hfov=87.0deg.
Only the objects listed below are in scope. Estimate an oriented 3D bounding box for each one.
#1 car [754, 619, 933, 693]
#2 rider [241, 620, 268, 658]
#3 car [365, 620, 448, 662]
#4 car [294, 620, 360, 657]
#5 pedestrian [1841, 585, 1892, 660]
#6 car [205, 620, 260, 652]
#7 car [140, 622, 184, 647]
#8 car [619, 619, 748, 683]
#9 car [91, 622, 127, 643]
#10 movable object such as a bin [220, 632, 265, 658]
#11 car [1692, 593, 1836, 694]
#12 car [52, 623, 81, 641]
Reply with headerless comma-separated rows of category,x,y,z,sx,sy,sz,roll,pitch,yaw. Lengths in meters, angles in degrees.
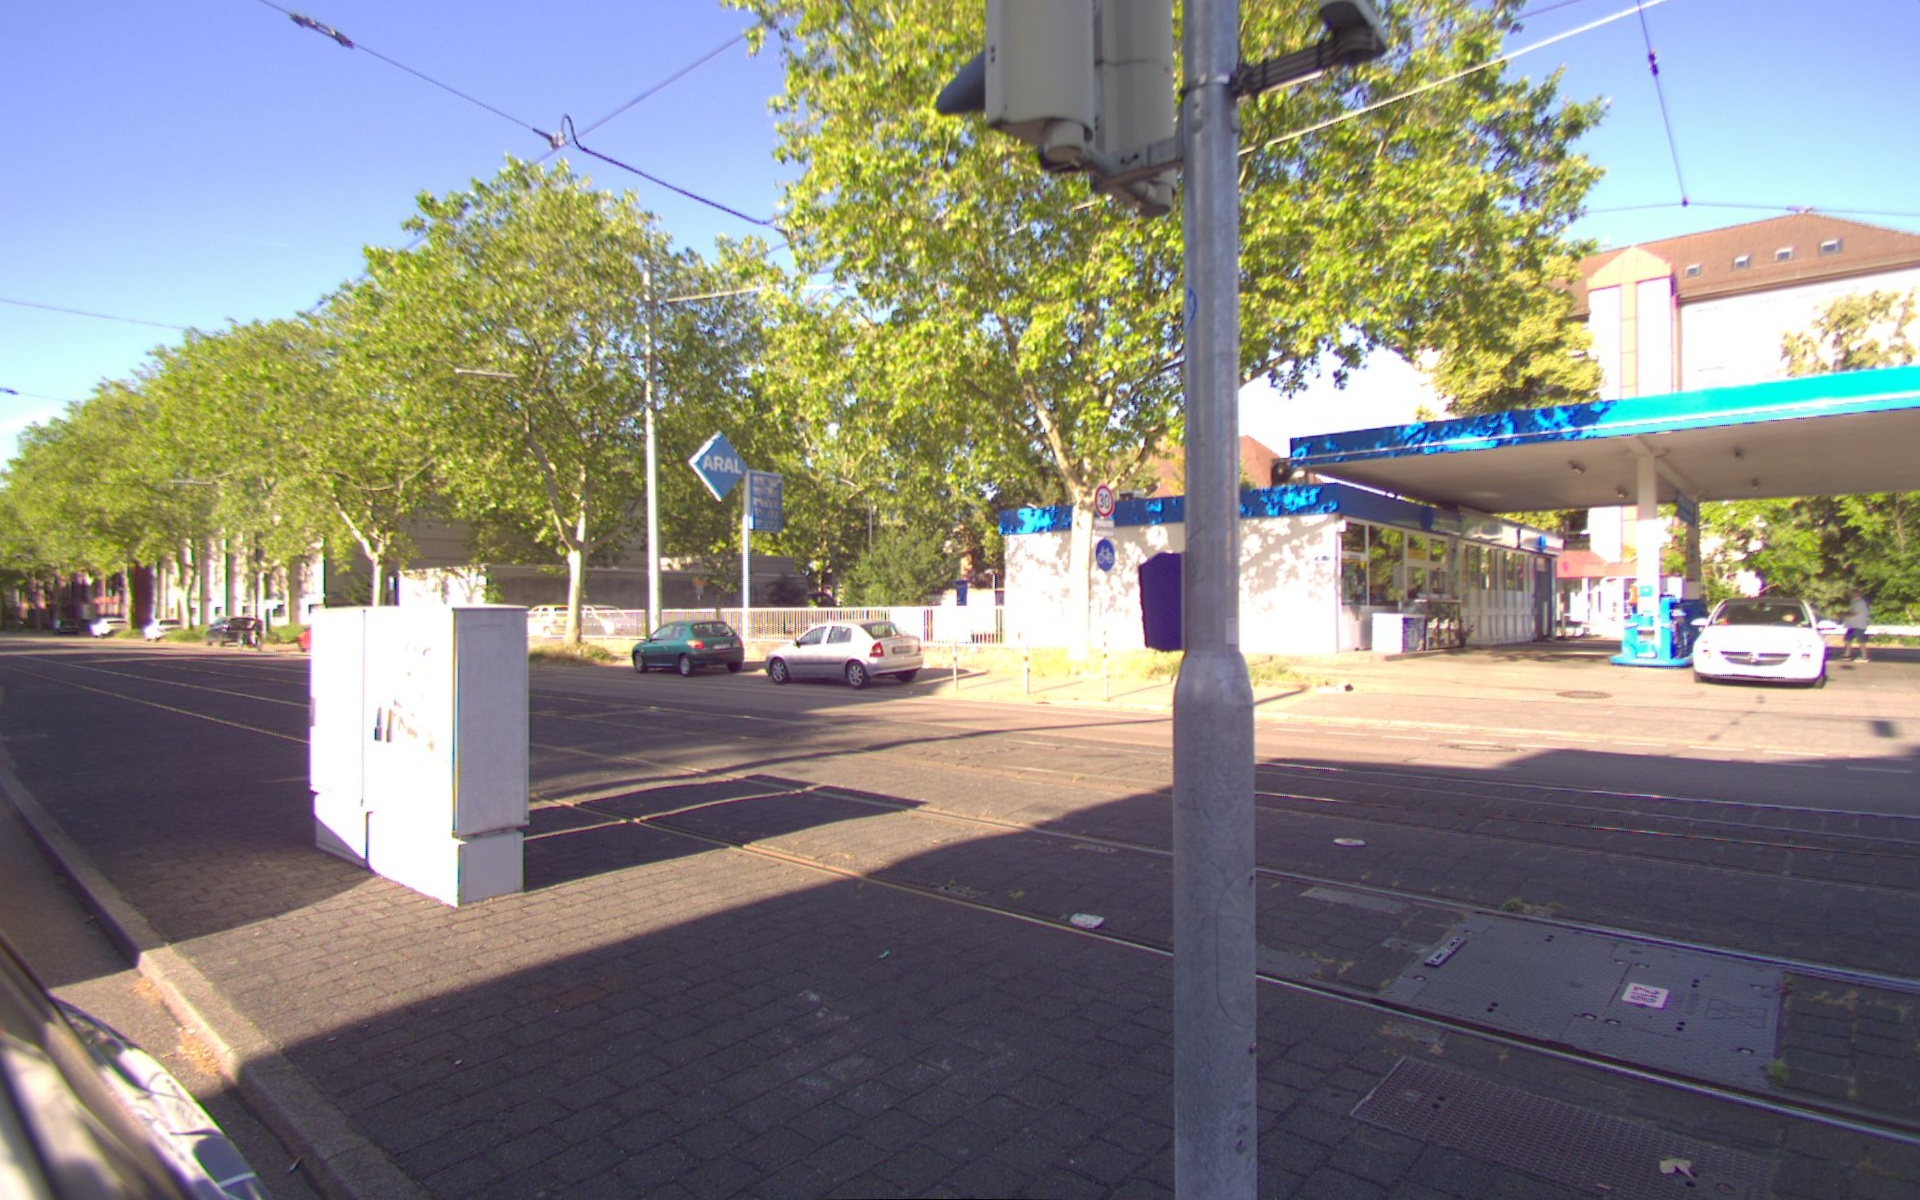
car,-2.660,1.192,22.615,3.987,1.376,1.666,-2,3,41
rider,-32.367,1.779,46.436,1.104,1.660,0.717,-1,0,36
car,-21.851,1.573,39.900,3.769,1.455,1.701,-1,2,43
car,-28.781,1.725,45.990,3.377,1.506,1.639,-1,2,43
pedestrian,21.100,0.523,23.575,0.847,1.715,0.640,-1,-3,40
car,-40.663,1.988,56.557,3.878,1.603,1.731,-1,2,43
car,-53.763,2.299,68.161,3.878,1.552,1.731,-1,2,43
car,-7.393,1.303,26.882,3.606,1.455,1.598,-1,2,43
car,-66.791,2.511,79.394,3.731,1.471,1.639,-1,2,43
movable object such as a bin,-33.460,2.073,47.190,1.831,1.111,1.164,-1,0,36
car,13.846,0.653,17.352,1.743,1.446,3.882,-1,1,41
car,-85.041,3.024,96.312,3.731,1.471,1.639,-1,2,43
